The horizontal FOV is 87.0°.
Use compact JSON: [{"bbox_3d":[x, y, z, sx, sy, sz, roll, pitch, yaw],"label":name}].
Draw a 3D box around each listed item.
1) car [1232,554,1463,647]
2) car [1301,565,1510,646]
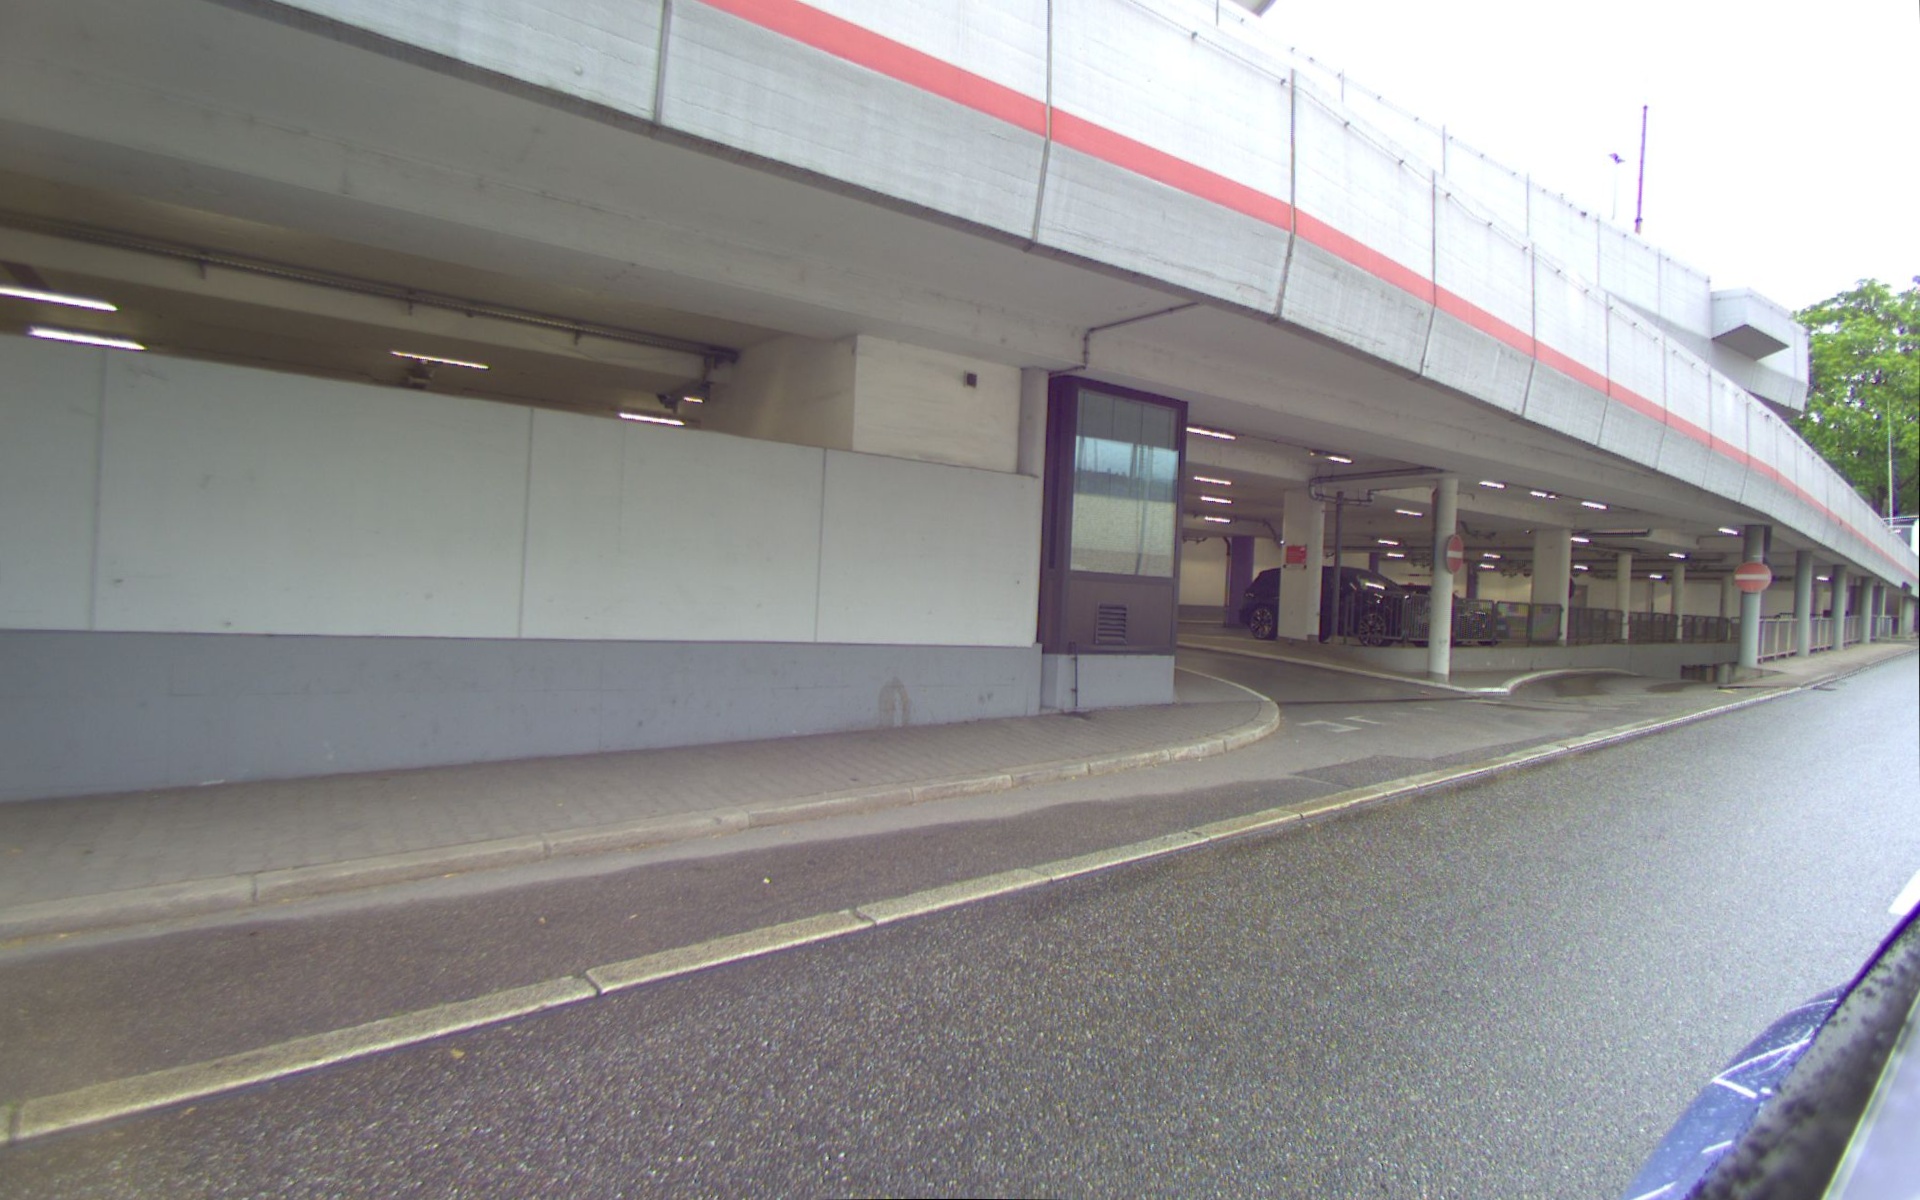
[{"bbox_3d":[8.173,-0.010,21.722,1.960,1.682,4.261,5,-2,-31],"label":"car"},{"bbox_3d":[10.772,0.098,24.763,1.960,1.682,4.261,5,-2,-31],"label":"car"}]
